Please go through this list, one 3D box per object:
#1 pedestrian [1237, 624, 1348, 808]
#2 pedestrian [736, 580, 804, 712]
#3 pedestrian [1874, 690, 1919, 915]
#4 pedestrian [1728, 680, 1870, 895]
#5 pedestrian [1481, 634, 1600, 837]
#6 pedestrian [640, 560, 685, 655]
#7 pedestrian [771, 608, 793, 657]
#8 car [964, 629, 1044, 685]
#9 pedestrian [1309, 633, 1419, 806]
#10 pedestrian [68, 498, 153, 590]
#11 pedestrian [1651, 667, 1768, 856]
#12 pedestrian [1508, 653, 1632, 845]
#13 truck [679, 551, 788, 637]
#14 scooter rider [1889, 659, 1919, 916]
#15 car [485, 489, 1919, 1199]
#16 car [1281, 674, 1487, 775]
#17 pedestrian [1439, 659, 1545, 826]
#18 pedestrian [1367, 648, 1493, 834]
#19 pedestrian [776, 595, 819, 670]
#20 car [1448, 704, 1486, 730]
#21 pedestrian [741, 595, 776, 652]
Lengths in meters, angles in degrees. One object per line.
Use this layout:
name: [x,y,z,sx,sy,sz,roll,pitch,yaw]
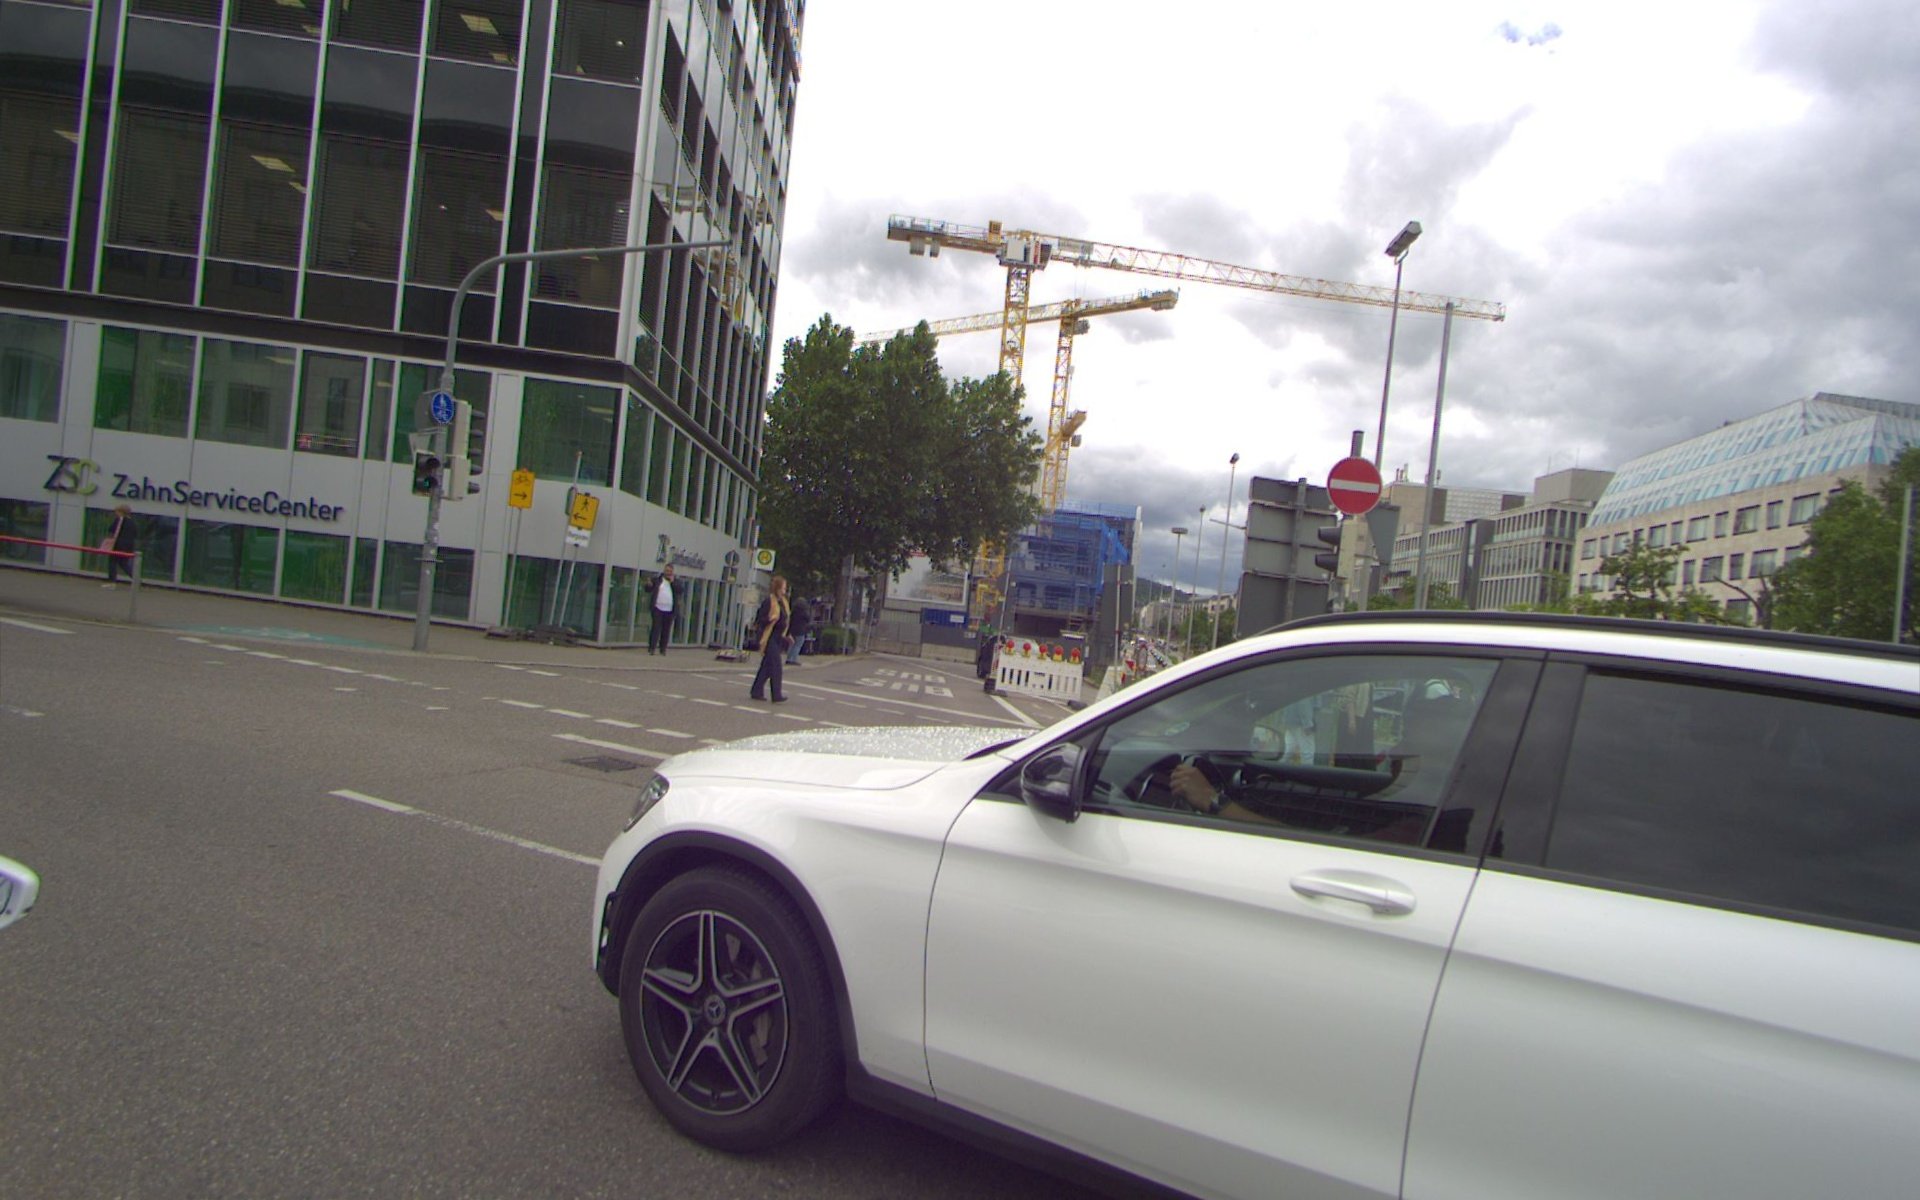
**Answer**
pedestrian: [3.640,1.250,11.038,0.693,1.885,0.667,7,0,-19]
pedestrian: [-2.650,0.628,13.959,0.541,1.719,0.796,6,1,-28]
pedestrian: [8.926,1.853,9.071,0.633,1.978,0.608,7,0,-18]
pedestrian: [7.636,1.692,9.170,0.634,1.818,0.608,7,0,-22]
pedestrian: [6.021,1.394,10.454,0.634,1.988,0.608,7,0,-22]
pedestrian: [-5.824,0.149,19.705,0.627,1.769,0.589,7,0,-15]
pedestrian: [-5.900,1.077,33.311,0.509,1.553,0.553,7,0,-6]
car: [1.584,2.100,37.925,1.967,1.692,3.994,7,-2,-11]
pedestrian: [4.586,1.344,11.446,0.693,1.837,0.667,7,0,-19]
pedestrian: [-14.738,-0.954,17.475,0.824,1.461,0.605,7,1,-3]
pedestrian: [8.180,1.749,10.990,0.634,1.933,0.608,7,0,-22]
pedestrian: [5.880,1.425,9.715,0.634,1.716,0.608,7,0,-22]
truck: [-9.574,-0.107,43.440,2.302,3.099,8.205,7,-1,2]
scooter rider: [6.799,1.271,6.487,0.734,1.714,0.764,7,0,-14]
car: [0.899,0.779,2.791,4.260,1.667,1.804,7,1,30]
car: [8.831,2.566,21.371,1.810,1.483,3.988,7,-1,-16]
pedestrian: [5.879,1.567,11.136,0.634,1.716,0.608,7,0,-22]
pedestrian: [4.880,1.450,10.470,0.753,1.783,0.667,7,0,-19]
pedestrian: [-3.859,0.779,23.981,0.625,1.699,0.591,7,0,17]
car: [43.761,10.084,86.954,1.962,1.655,4.001,7,0,15]
pedestrian: [-6.611,0.759,33.092,0.859,1.768,0.846,7,0,-6]
